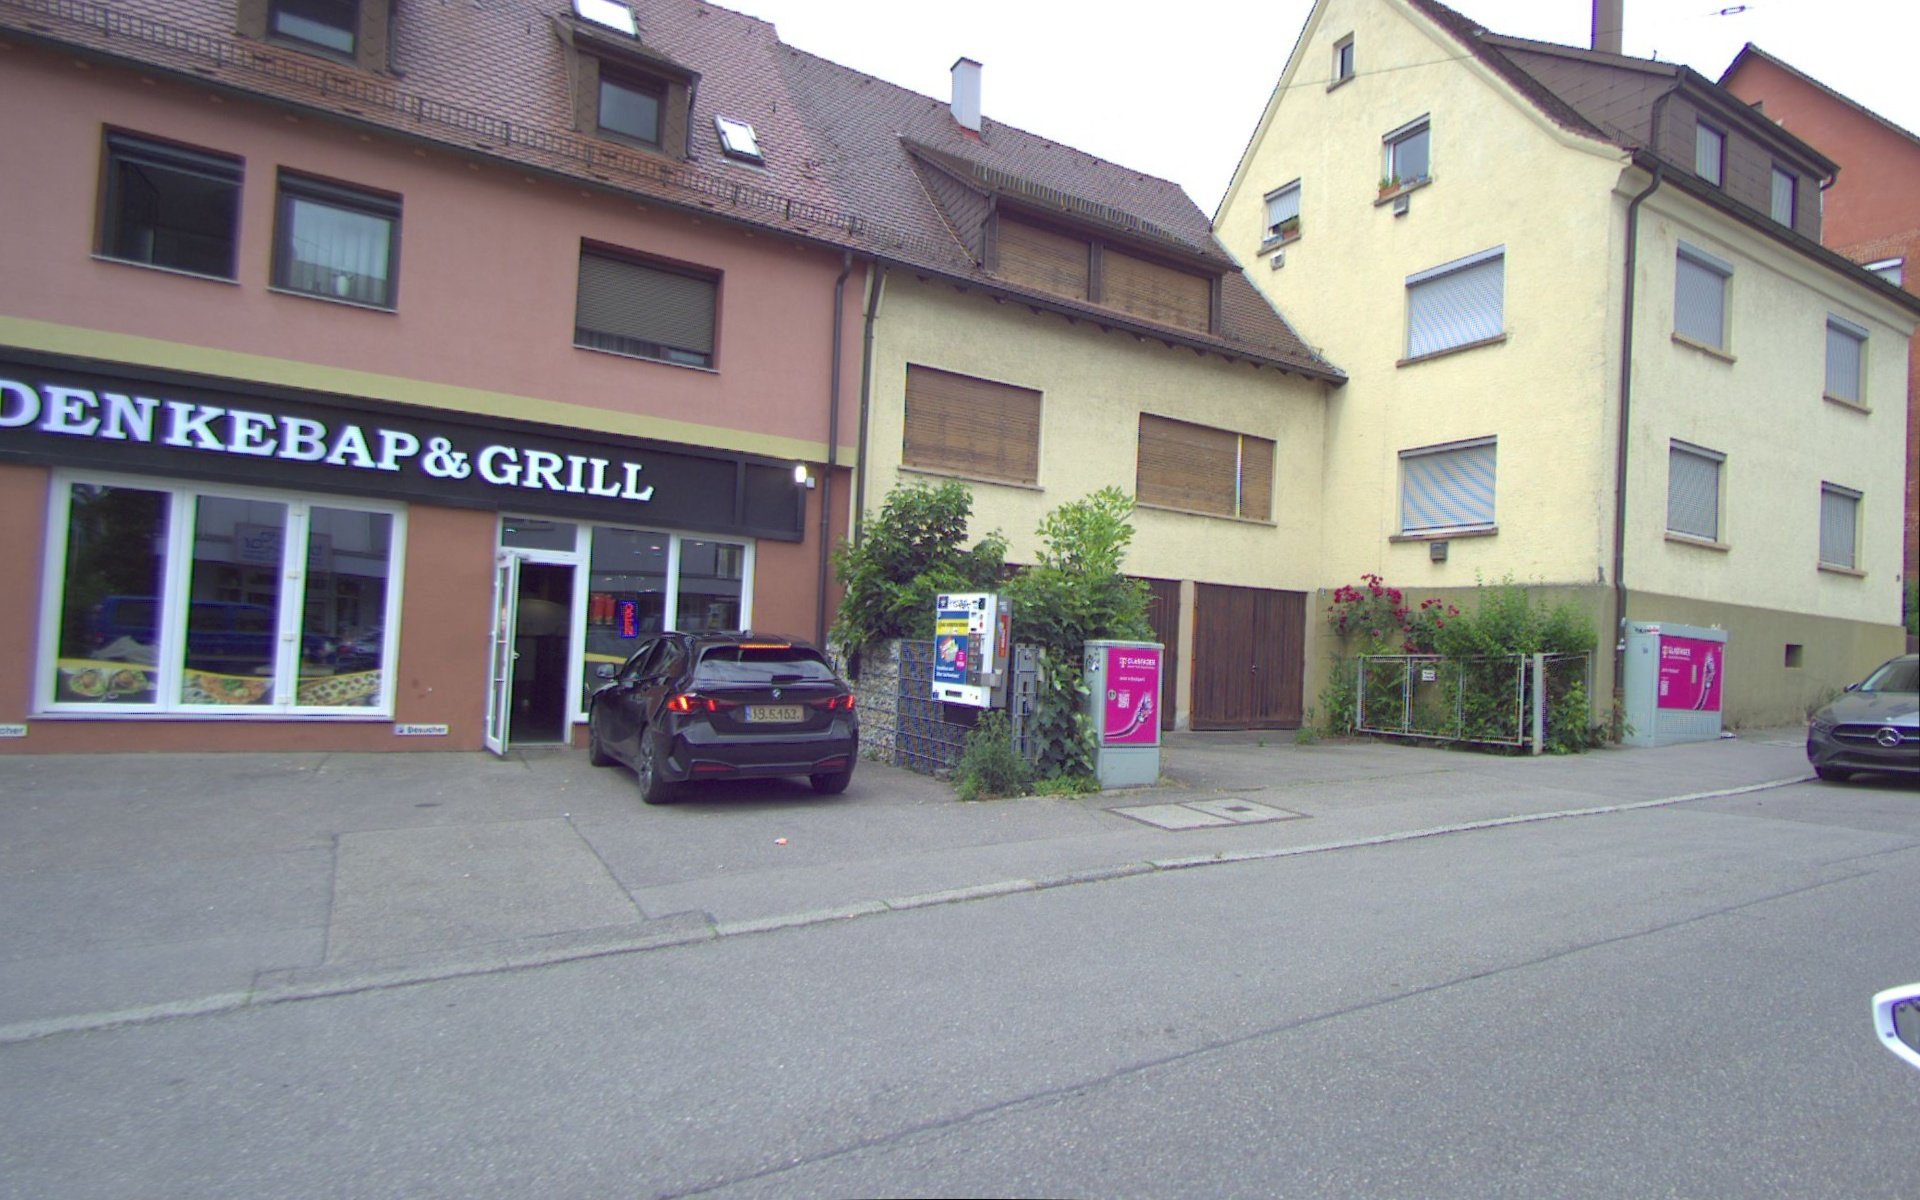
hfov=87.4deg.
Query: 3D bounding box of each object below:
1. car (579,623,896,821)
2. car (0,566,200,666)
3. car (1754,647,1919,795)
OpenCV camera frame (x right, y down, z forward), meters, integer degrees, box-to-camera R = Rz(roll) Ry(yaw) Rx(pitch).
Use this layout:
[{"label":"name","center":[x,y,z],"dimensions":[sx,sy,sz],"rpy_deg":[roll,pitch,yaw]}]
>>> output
[{"label":"car","center":[-2.414,1.045,9.945],"dimensions":[1.975,1.491,4.213],"rpy_deg":[3,-3,-28]},{"label":"car","center":[-27.218,0.492,31.697],"dimensions":[2.633,2.861,5.471],"rpy_deg":[1,-1,-6]},{"label":"car","center":[11.360,1.291,11.543],"dimensions":[4.191,1.491,1.986],"rpy_deg":[1,-4,-29]}]
